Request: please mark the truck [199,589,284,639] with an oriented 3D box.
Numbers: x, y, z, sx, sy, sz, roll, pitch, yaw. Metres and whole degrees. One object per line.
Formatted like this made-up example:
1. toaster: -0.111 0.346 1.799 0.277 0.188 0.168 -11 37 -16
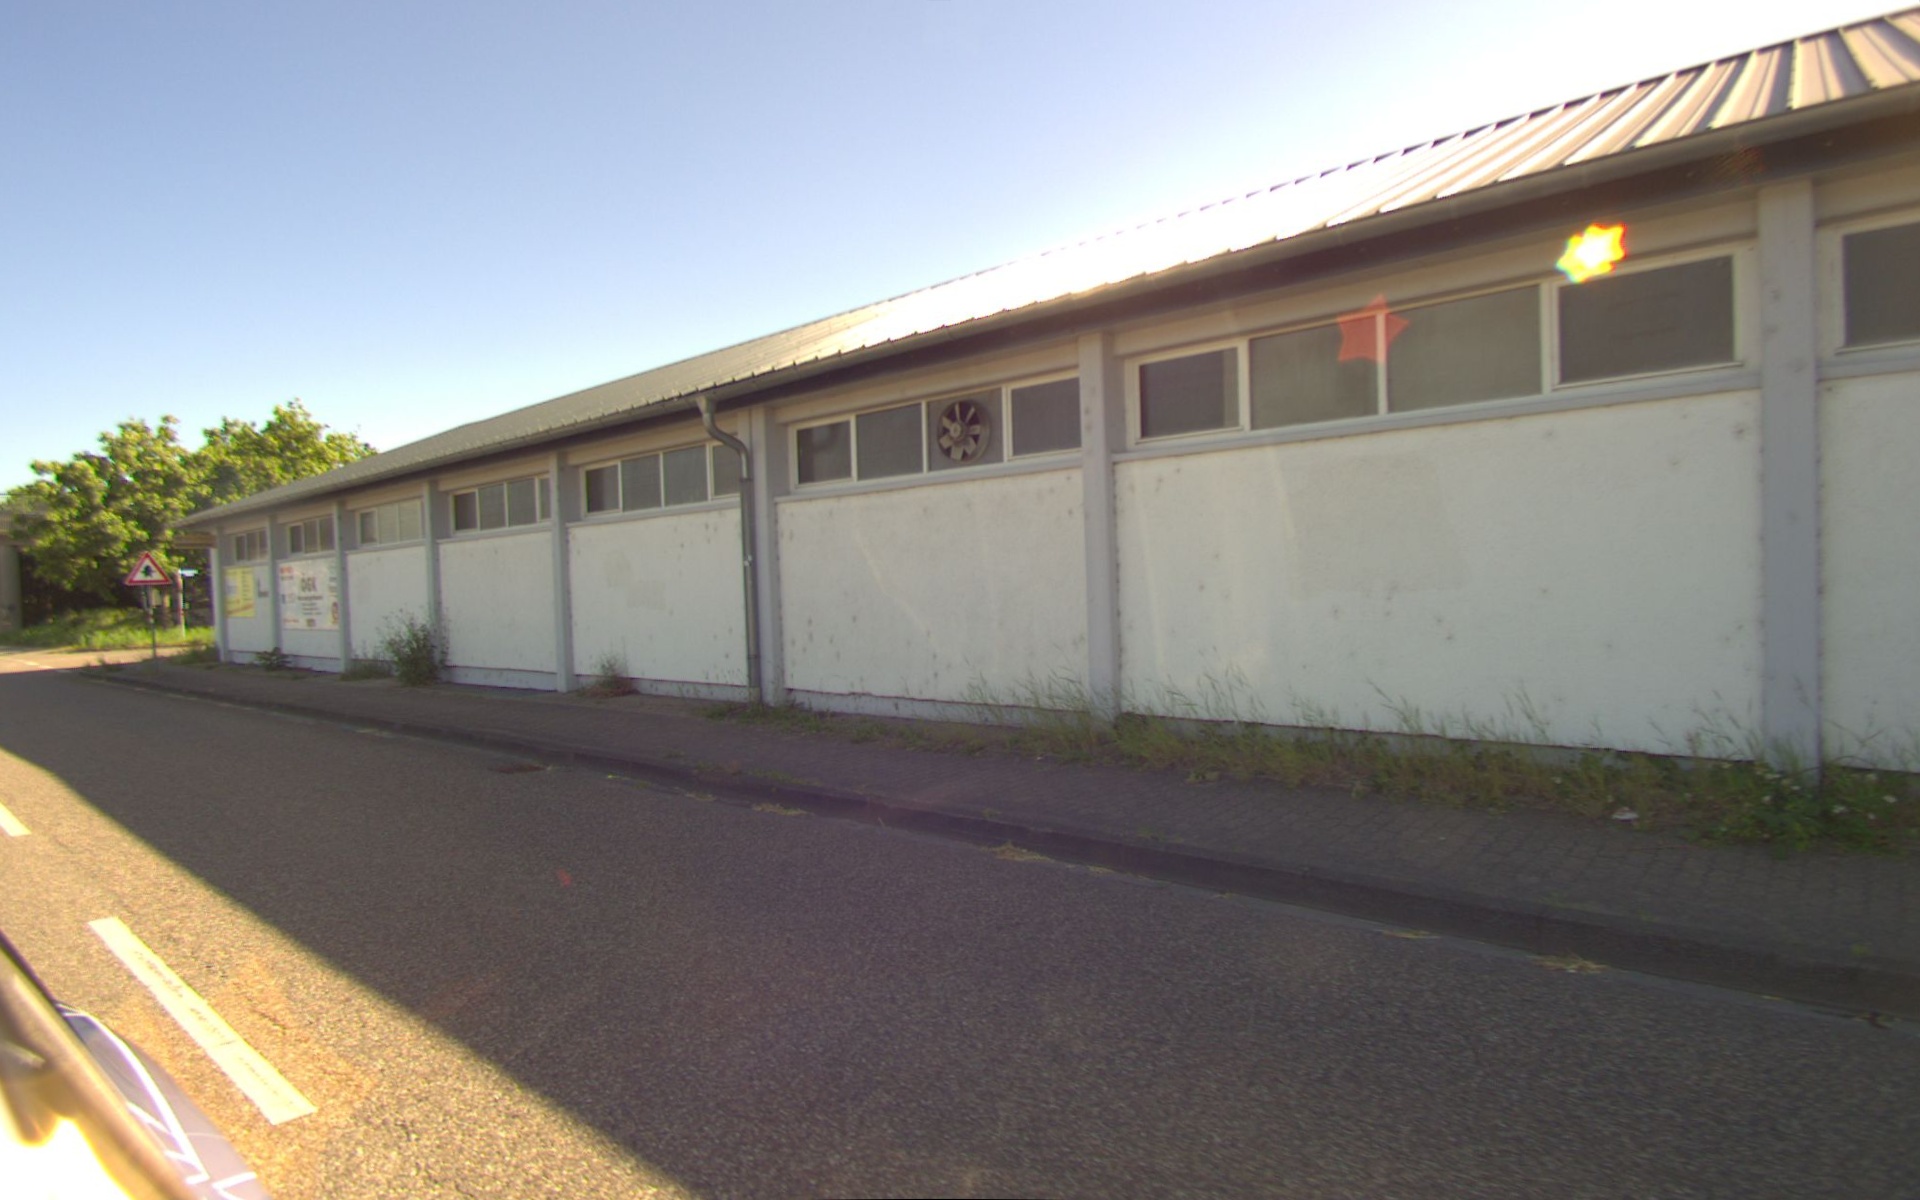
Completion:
1. truck: -55.229 0.965 78.037 2.441 3.578 7.989 -2 1 -14
